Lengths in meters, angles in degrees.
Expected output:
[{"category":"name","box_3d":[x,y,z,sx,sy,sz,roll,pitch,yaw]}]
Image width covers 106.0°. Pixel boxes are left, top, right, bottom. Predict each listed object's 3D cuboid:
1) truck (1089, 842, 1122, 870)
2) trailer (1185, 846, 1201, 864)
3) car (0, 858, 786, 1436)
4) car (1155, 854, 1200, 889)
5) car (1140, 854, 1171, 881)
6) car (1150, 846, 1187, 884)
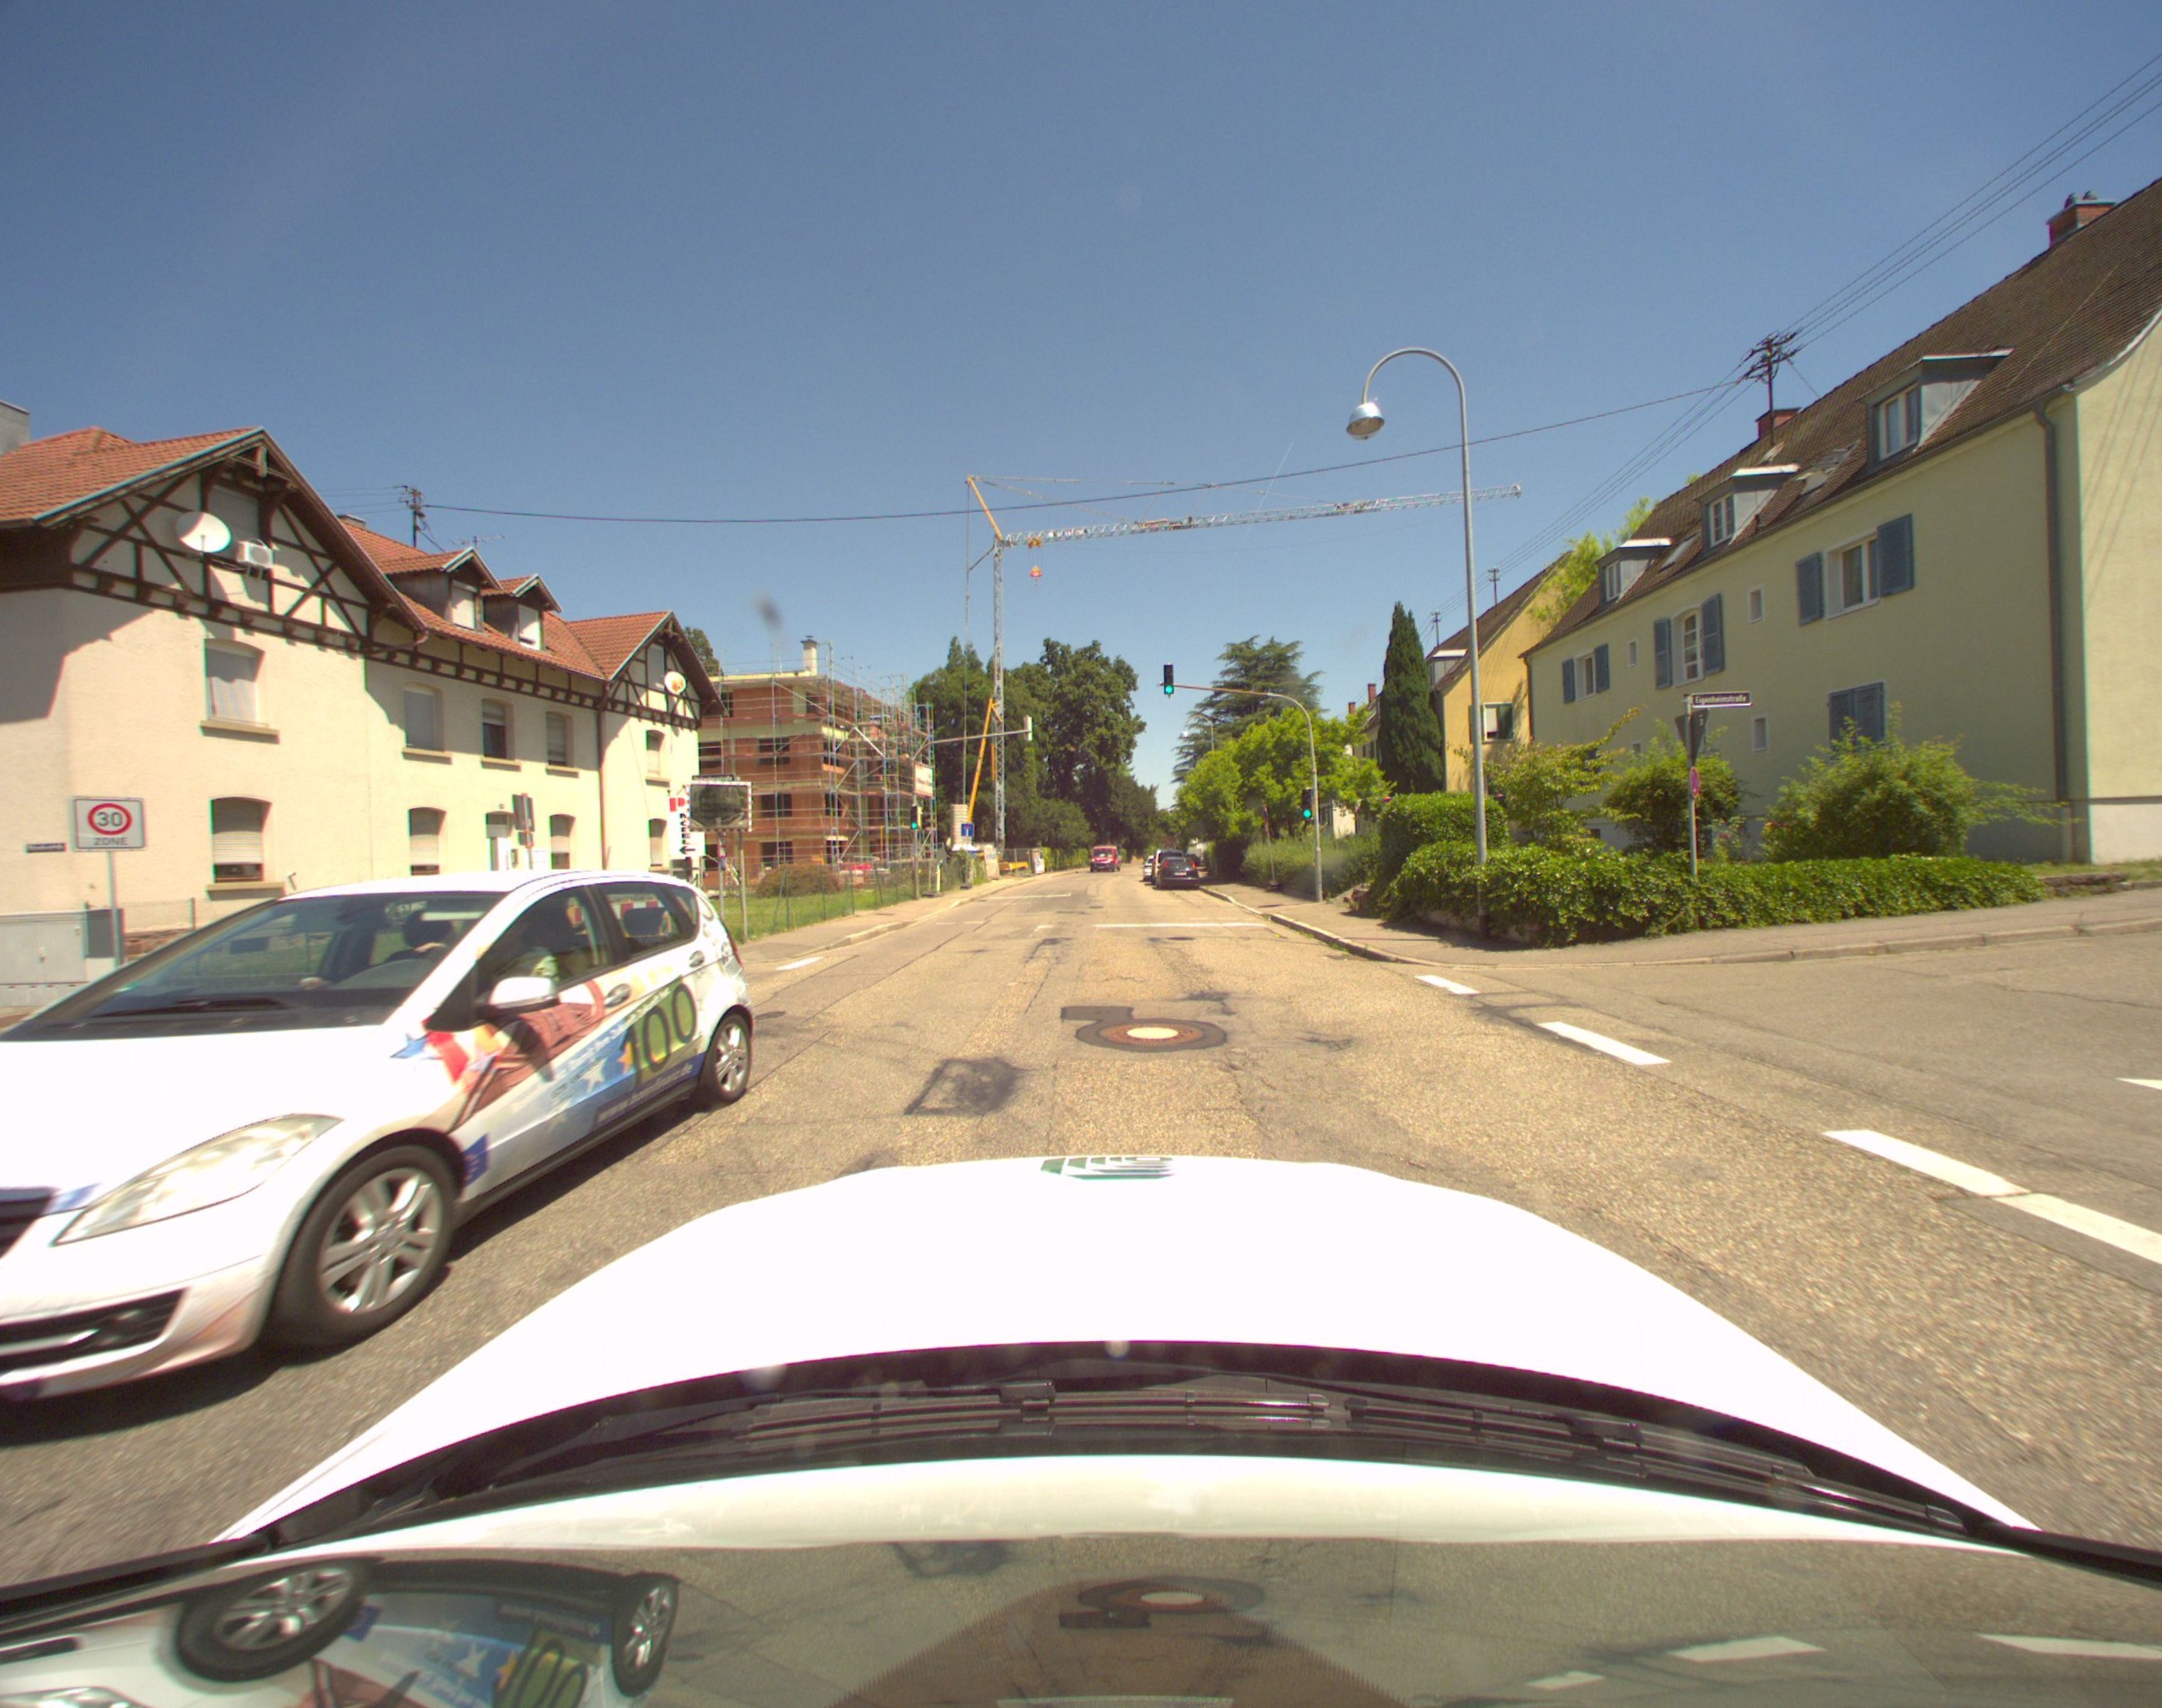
[{"category":"truck","box_3d":[2.207,0.146,70.571,2.115,2.339,6.449,-1,0,8]},{"category":"trailer","box_3d":[13.063,0.118,95.024,1.669,2.068,3.720,0,1,11]},{"category":"car","box_3d":[-3.143,0.846,4.200,1.646,1.562,3.886,-3,0,2]},{"category":"car","box_3d":[4.250,0.744,36.318,1.622,1.463,4.018,1,0,2]},{"category":"car","box_3d":[4.302,0.741,46.489,1.653,1.435,4.136,0,0,6]},{"category":"car","box_3d":[4.360,0.521,41.002,1.654,1.803,4.208,1,0,4]}]
